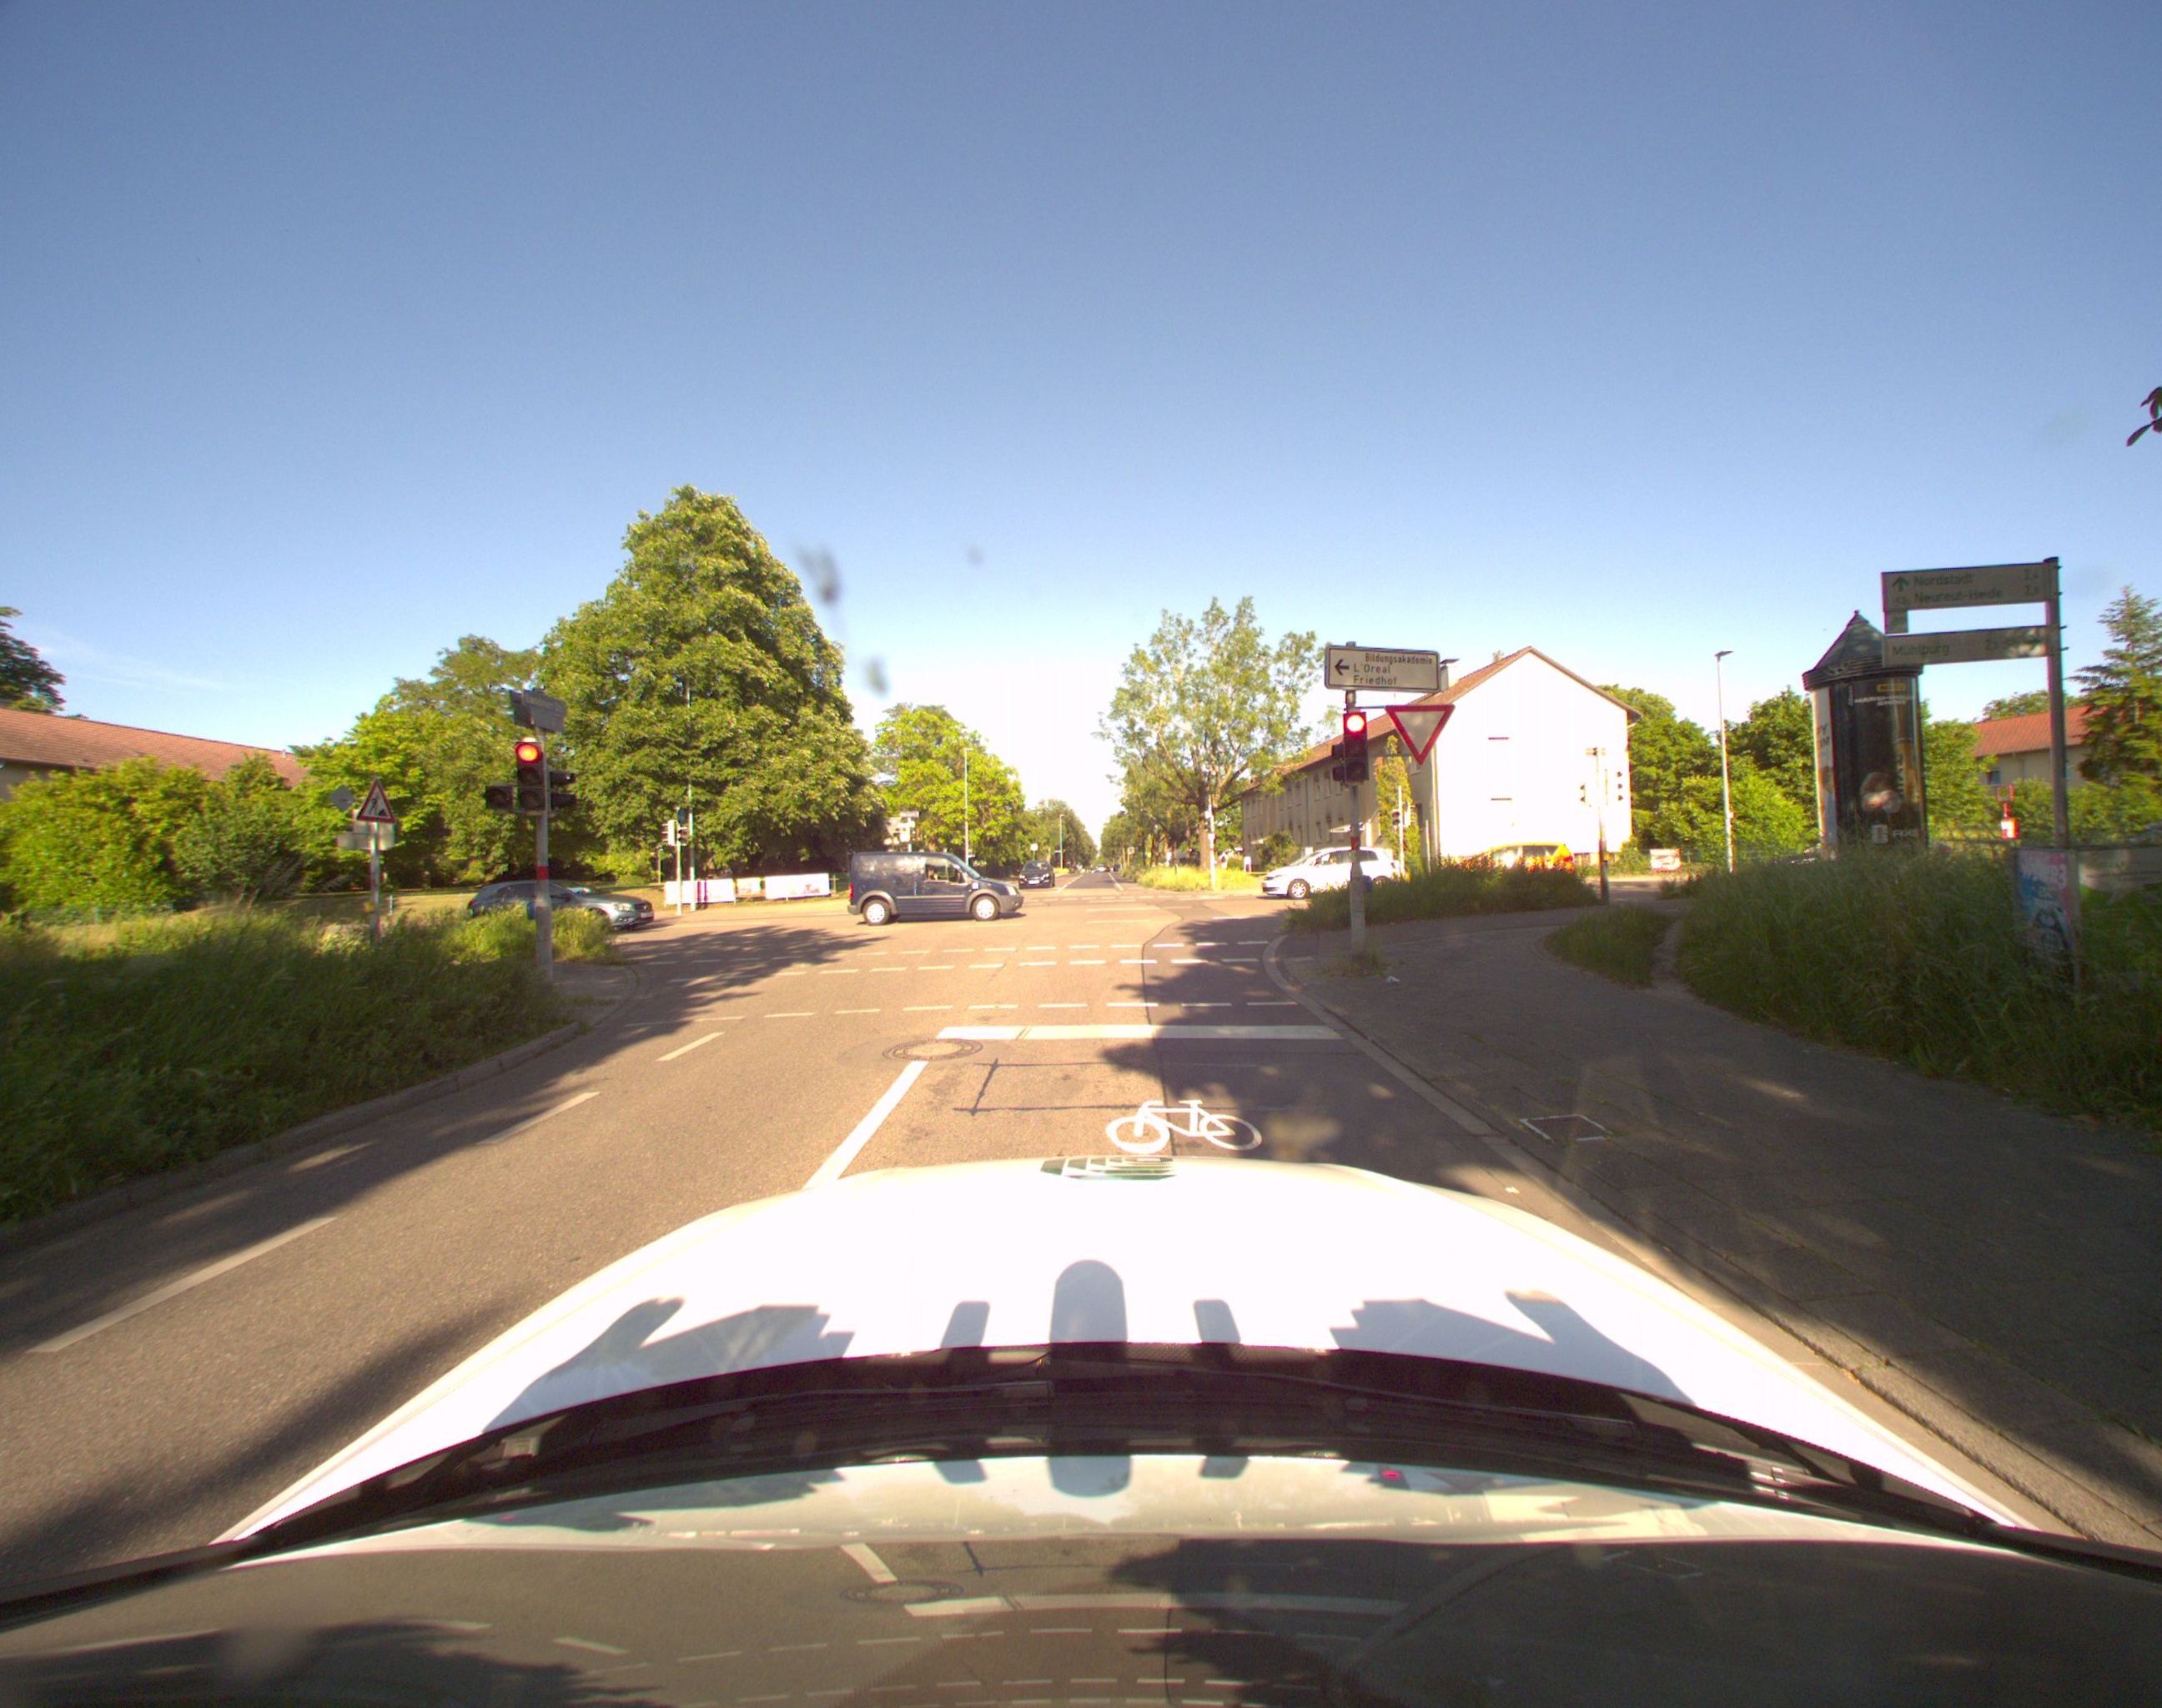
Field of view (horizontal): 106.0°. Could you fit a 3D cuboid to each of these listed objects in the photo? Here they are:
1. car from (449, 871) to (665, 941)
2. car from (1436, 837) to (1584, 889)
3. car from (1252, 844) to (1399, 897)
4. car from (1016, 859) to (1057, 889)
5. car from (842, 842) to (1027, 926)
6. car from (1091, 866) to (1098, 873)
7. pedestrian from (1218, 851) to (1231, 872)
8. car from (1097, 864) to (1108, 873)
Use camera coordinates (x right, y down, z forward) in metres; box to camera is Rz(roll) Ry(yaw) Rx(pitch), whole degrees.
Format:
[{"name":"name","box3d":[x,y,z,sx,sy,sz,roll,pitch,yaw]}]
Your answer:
[{"name":"car","box3d":[-13.446,1.308,21.118,4.270,1.489,1.913,-2,0,-1]},{"name":"car","box3d":[13.664,0.301,26.191,3.956,1.582,1.765,-1,-1,17]},{"name":"car","box3d":[7.595,0.498,25.567,4.095,1.563,1.756,0,-1,-1]},{"name":"car","box3d":[-2.267,1.010,42.092,1.704,1.385,3.473,-2,0,3]},{"name":"car","box3d":[-3.603,0.722,20.707,4.334,1.887,1.858,-2,0,-3]},{"name":"car","box3d":[3.561,3.970,212.490,1.751,1.624,3.271,-2,0,3]},{"name":"pedestrian","box3d":[10.464,0.535,59.326,0.839,1.493,0.924,1,0,1]},{"name":"car","box3d":[3.967,2.614,150.132,1.838,1.461,3.531,-2,0,1]}]
